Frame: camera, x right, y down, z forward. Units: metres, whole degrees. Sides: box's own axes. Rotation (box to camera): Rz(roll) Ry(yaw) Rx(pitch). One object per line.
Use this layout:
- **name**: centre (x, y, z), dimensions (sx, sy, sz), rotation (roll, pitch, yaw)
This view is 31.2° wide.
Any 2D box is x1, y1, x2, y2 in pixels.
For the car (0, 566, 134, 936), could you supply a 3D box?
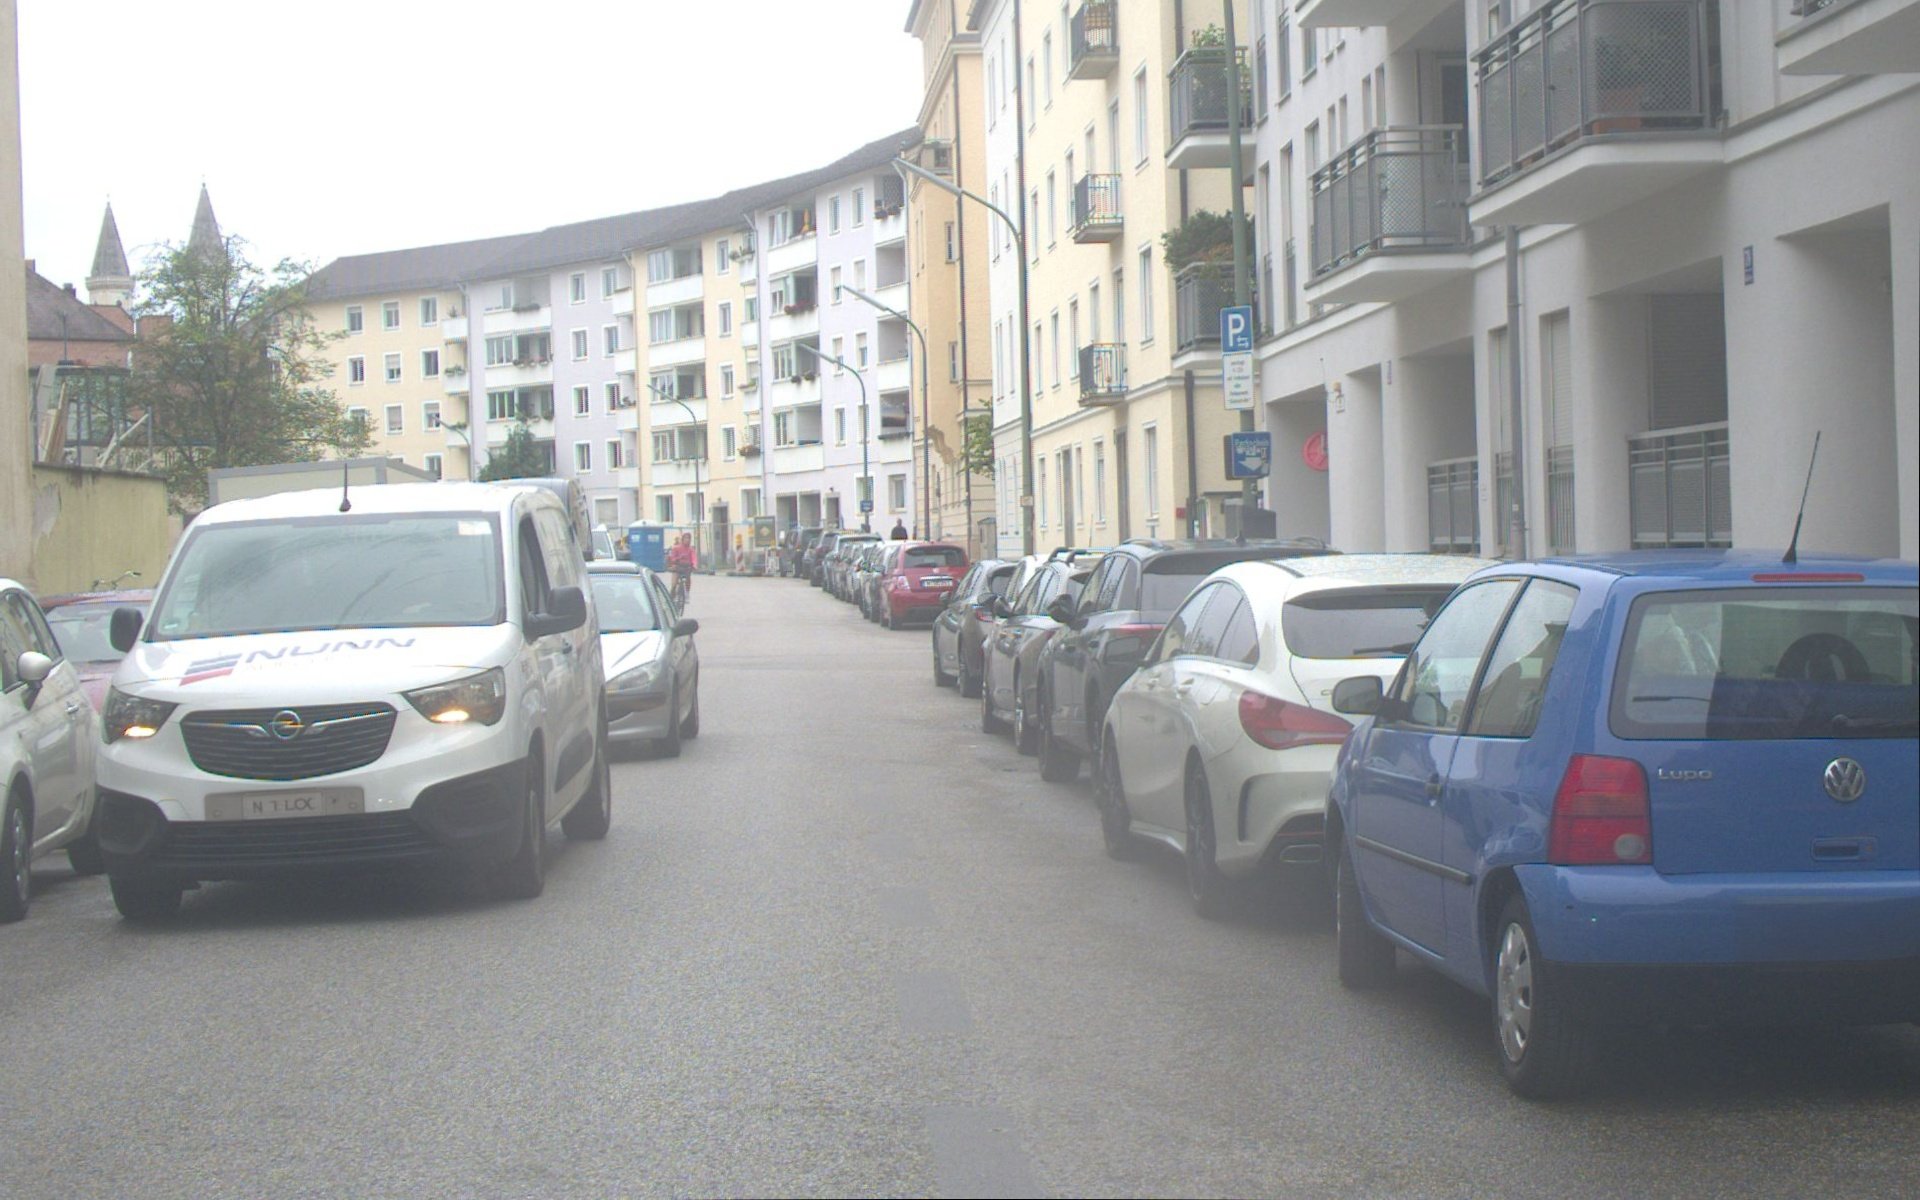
- **car**: centre (-4.750, 0.626, 15.389), dimensions (1.473, 1.461, 3.314), rotation (-3, 1, -4)

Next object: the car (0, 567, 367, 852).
- **car**: centre (-4.684, 0.574, 20.299), dimensions (1.860, 1.408, 4.334), rotation (-3, 1, -4)

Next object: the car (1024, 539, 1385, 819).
- **car**: centre (1.395, 0.405, 21.021), dimensions (1.603, 1.525, 3.985), rotation (1, 1, -4)

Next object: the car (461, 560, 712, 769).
- **car**: centre (-2.734, 0.430, 25.798), dimensions (1.581, 1.406, 3.613), rotation (-2, 1, -2)

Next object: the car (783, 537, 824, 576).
- **car**: centre (-5.314, -1.489, 116.457), dimensions (1.272, 1.294, 2.798), rotation (-1, 1, -5)

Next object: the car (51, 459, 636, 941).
- **car**: centre (-2.627, 0.365, 15.742), dimensions (1.771, 1.797, 4.572), rotation (-3, 1, 0)

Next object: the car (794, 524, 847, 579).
- **car**: centre (-4.280, -1.505, 105.290), dimensions (1.474, 1.635, 4.002), rotation (0, 1, -5)

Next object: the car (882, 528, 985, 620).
- **car**: centre (-0.488, -0.480, 60.273), dimensions (1.595, 1.503, 3.801), rotation (-2, 1, -3)

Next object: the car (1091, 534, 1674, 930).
- **car**: centre (1.640, 0.453, 14.746), dimensions (1.658, 1.435, 4.207), rotation (1, 1, -4)

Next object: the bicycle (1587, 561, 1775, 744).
- **bicycle**: centre (4.883, 0.327, 23.422), dimensions (0.627, 1.156, 2.128), rotation (-2, 1, -5)

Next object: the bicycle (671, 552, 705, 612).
- **bicycle**: centre (-5.382, -0.366, 68.025), dimensions (0.504, 1.124, 1.773), rotation (-3, 1, 0)

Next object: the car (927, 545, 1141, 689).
- **car**: centre (0.723, 0.151, 36.418), dimensions (1.763, 1.403, 4.079), rotation (-1, 1, -6)

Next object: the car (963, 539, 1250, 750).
- **car**: centre (1.083, 0.292, 27.565), dimensions (1.734, 1.525, 4.622), rotation (1, 1, -4)

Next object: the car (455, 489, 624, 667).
- **car**: centre (-6.593, -0.410, 54.465), dimensions (2.088, 2.627, 5.377), rotation (-2, 2, -2)

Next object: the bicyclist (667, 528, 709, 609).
- **bicyclist**: centre (-5.379, -0.622, 67.993), dimensions (0.694, 1.556, 0.967), rotation (-3, 1, 0)

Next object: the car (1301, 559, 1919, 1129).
- **car**: centre (2.107, 0.595, 10.339), dimensions (1.618, 1.407, 3.554), rotation (1, 1, -3)

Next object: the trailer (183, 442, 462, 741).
- **trailer**: centre (-5.744, -0.120, 31.480), dimensions (1.709, 2.453, 4.387), rotation (-3, 1, -1)

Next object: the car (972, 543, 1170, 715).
- **car**: centre (0.991, 0.229, 32.278), dimensions (1.519, 1.525, 3.527), rotation (0, 1, -4)

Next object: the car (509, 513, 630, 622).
- **car**: centre (-7.518, -0.660, 66.560), dimensions (1.882, 1.925, 4.602), rotation (-3, 2, -2)
